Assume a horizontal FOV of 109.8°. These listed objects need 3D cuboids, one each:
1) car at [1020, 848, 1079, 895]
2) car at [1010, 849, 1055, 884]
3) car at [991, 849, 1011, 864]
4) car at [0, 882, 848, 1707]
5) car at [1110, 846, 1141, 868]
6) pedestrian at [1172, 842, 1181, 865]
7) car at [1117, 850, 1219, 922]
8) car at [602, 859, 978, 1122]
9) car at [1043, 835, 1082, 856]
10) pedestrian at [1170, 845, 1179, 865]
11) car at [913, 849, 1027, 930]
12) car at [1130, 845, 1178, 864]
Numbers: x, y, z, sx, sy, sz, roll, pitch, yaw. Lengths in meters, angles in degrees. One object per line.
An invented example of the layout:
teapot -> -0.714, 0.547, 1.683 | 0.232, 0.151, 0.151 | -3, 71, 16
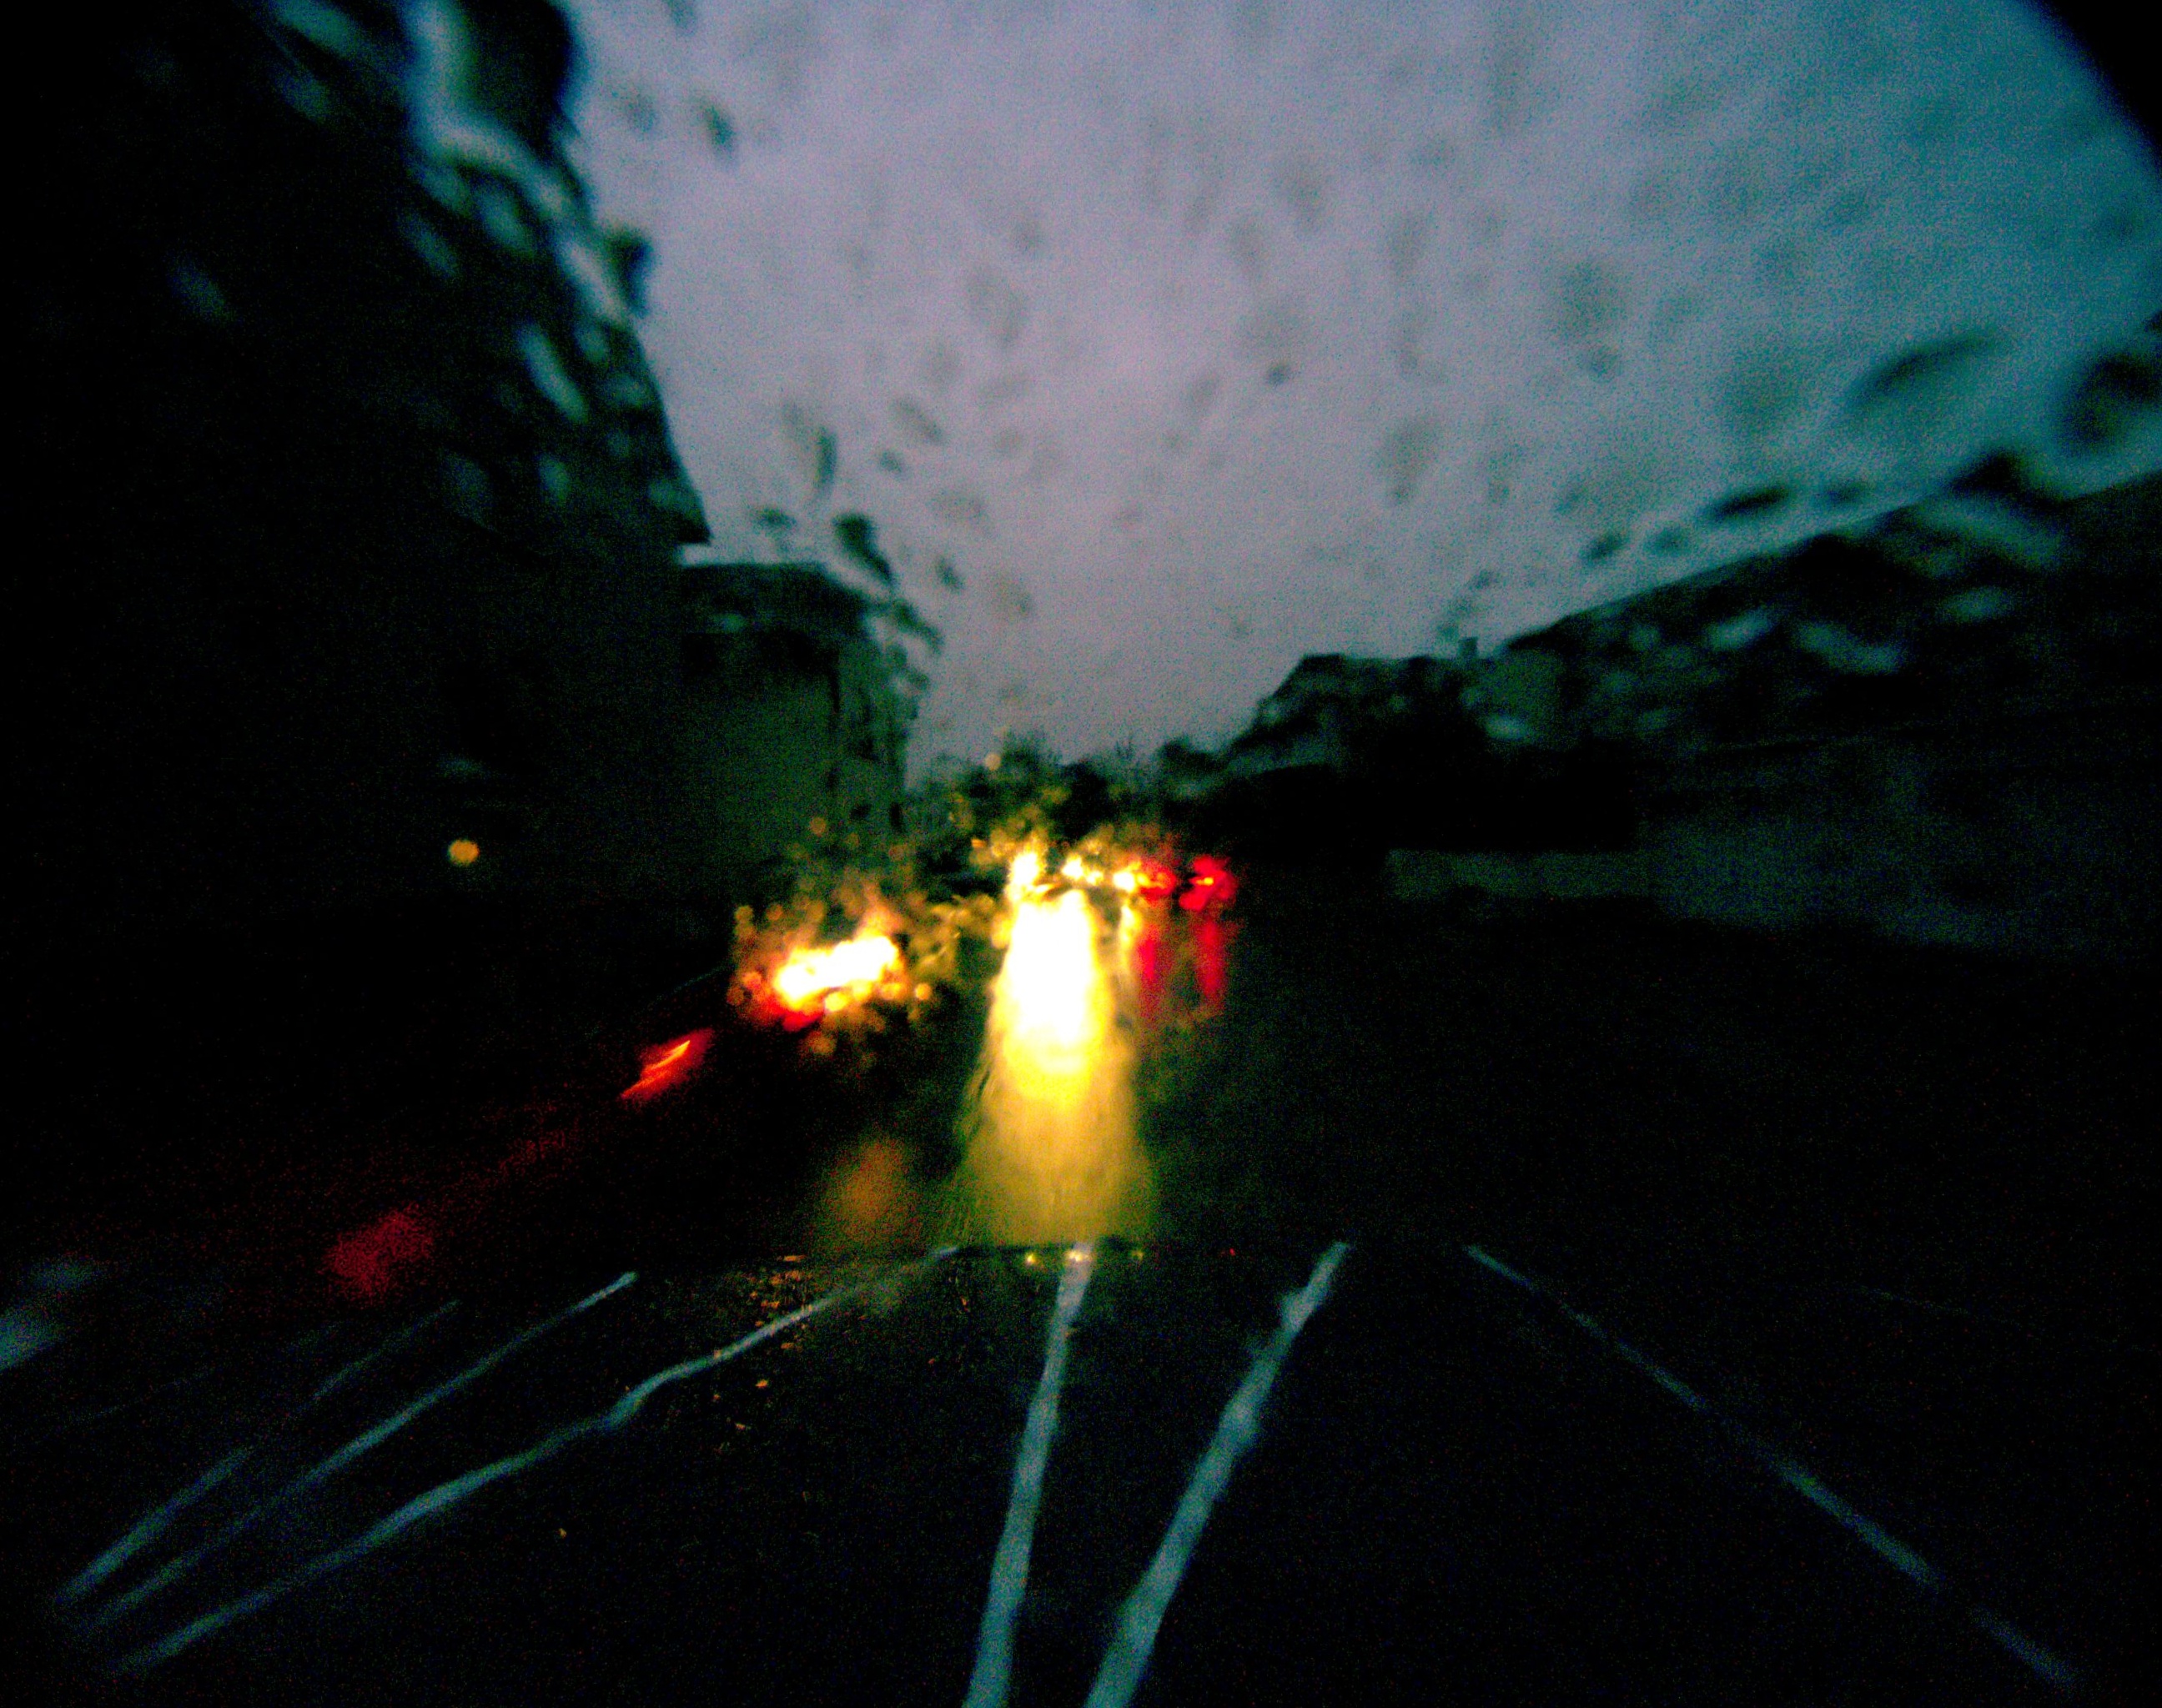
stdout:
car -> -1.159, 0.589, 28.128 | 1.991, 1.549, 4.234 | -1, 1, -2
car -> -2.335, 0.537, 36.236 | 1.992, 1.549, 4.233 | -1, 1, -5
car -> -10.110, 0.267, 96.449 | 1.998, 1.811, 4.000 | -2, 1, 1
car -> -2.381, 0.905, 2.553 | 1.739, 1.398, 4.304 | -1, 0, 1
car -> 3.595, 0.219, 61.656 | 1.755, 1.652, 3.997 | -1, 1, -7
pedestrian -> 7.420, -0.047, 58.932 | 0.591, 1.774, 0.581 | -2, 1, 0
car -> 1.981, 0.684, 18.548 | 1.991, 1.489, 4.235 | -1, 1, 0
car -> -2.146, 0.889, 7.024 | 1.814, 1.530, 4.303 | -1, 1, -1
car -> -1.752, -0.769, 70.726 | 1.855, 1.873, 4.875 | -2, 1, -25
pedestrian -> 7.333, 0.047, 59.837 | 0.591, 1.562, 0.581 | -2, 1, 0
car -> -2.437, 0.717, 17.819 | 1.991, 1.638, 4.235 | -1, 1, 0
car -> 6.545, 0.058, 68.023 | 3.993, 1.652, 1.757 | -1, 1, 13
